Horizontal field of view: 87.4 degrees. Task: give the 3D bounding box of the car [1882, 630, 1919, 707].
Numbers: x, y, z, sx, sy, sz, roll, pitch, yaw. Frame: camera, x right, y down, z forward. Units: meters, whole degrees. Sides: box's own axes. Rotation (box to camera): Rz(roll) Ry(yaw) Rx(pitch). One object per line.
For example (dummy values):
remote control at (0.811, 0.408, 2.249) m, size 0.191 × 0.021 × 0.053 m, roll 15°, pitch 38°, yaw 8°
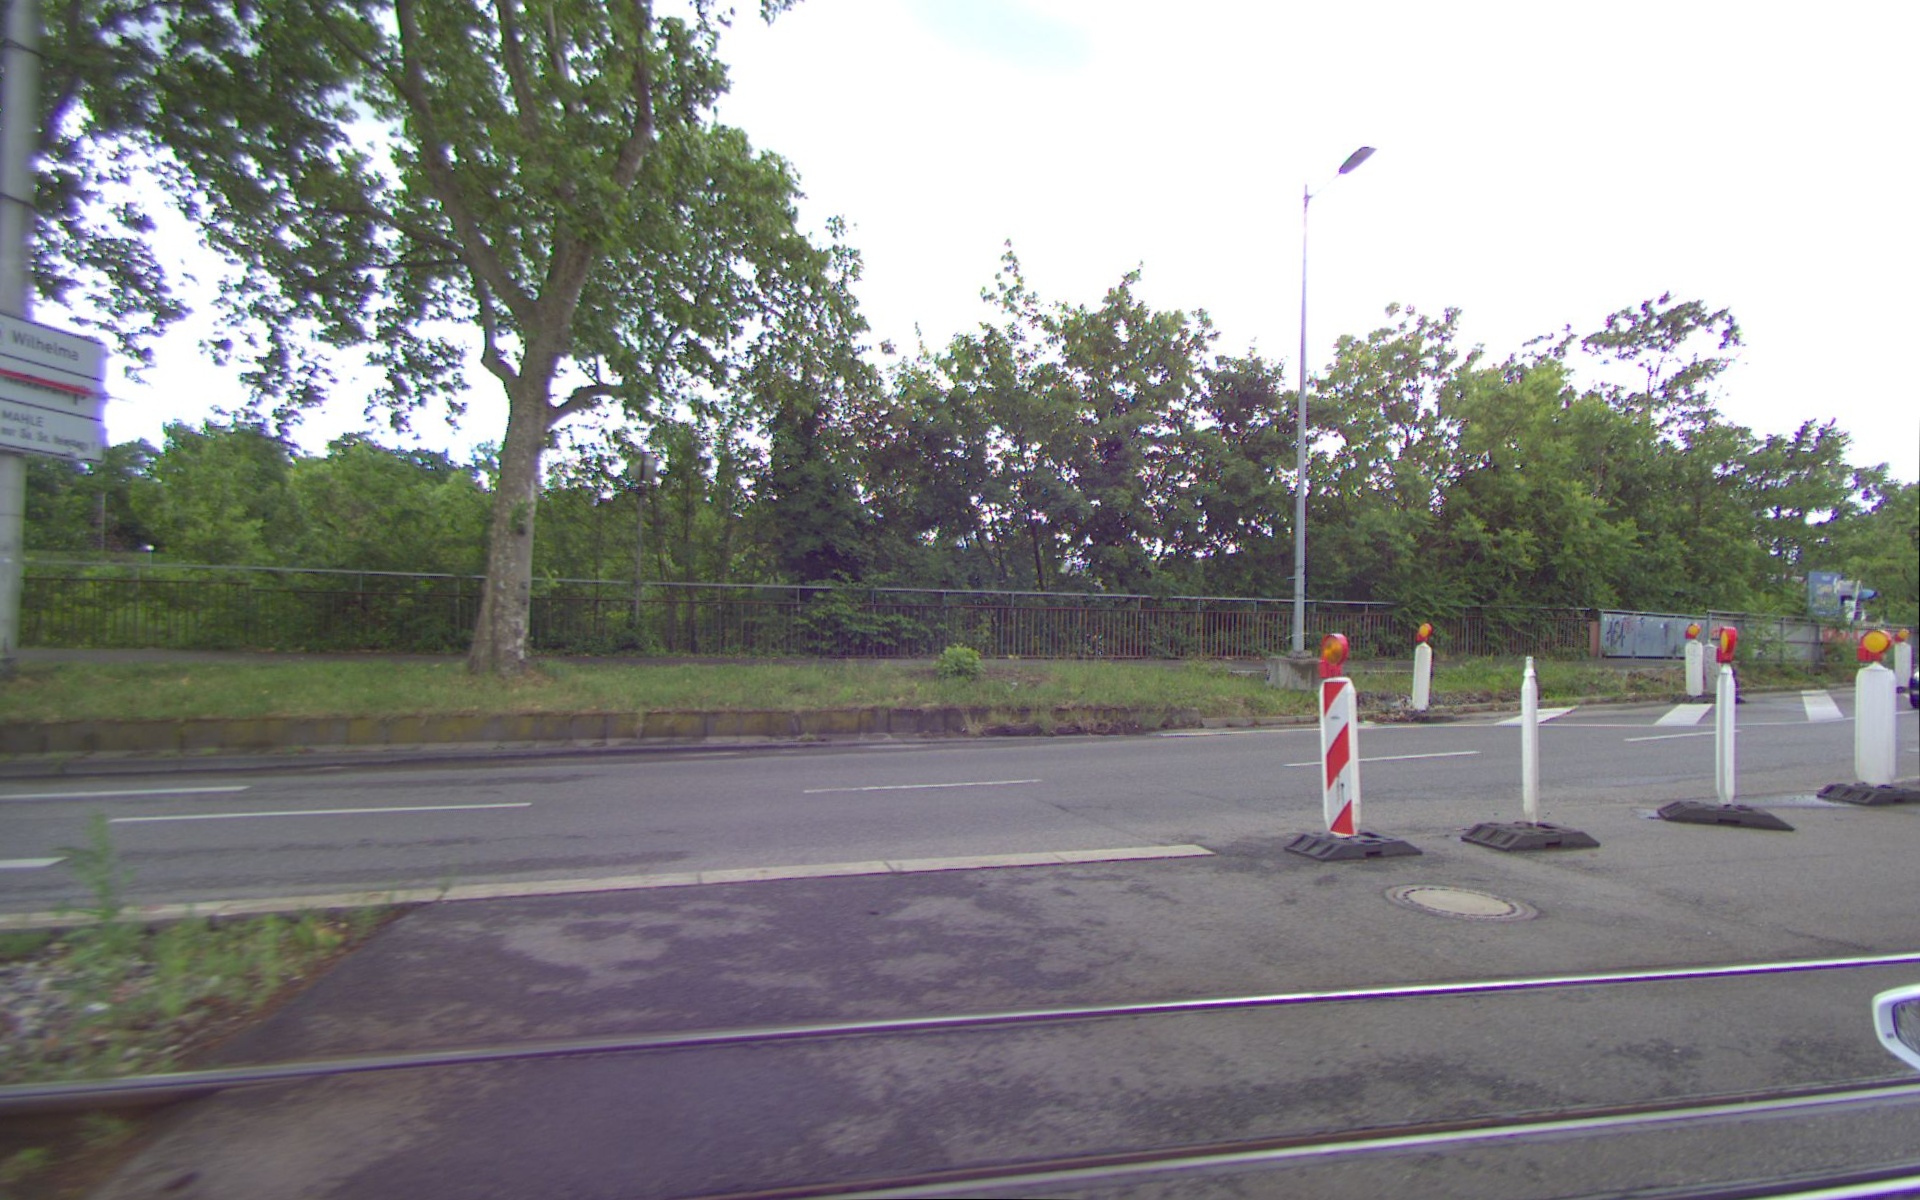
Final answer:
car at (20.486, 1.344, 20.121) m, size 3.860 × 1.481 × 1.689 m, roll 1°, pitch -1°, yaw -26°
